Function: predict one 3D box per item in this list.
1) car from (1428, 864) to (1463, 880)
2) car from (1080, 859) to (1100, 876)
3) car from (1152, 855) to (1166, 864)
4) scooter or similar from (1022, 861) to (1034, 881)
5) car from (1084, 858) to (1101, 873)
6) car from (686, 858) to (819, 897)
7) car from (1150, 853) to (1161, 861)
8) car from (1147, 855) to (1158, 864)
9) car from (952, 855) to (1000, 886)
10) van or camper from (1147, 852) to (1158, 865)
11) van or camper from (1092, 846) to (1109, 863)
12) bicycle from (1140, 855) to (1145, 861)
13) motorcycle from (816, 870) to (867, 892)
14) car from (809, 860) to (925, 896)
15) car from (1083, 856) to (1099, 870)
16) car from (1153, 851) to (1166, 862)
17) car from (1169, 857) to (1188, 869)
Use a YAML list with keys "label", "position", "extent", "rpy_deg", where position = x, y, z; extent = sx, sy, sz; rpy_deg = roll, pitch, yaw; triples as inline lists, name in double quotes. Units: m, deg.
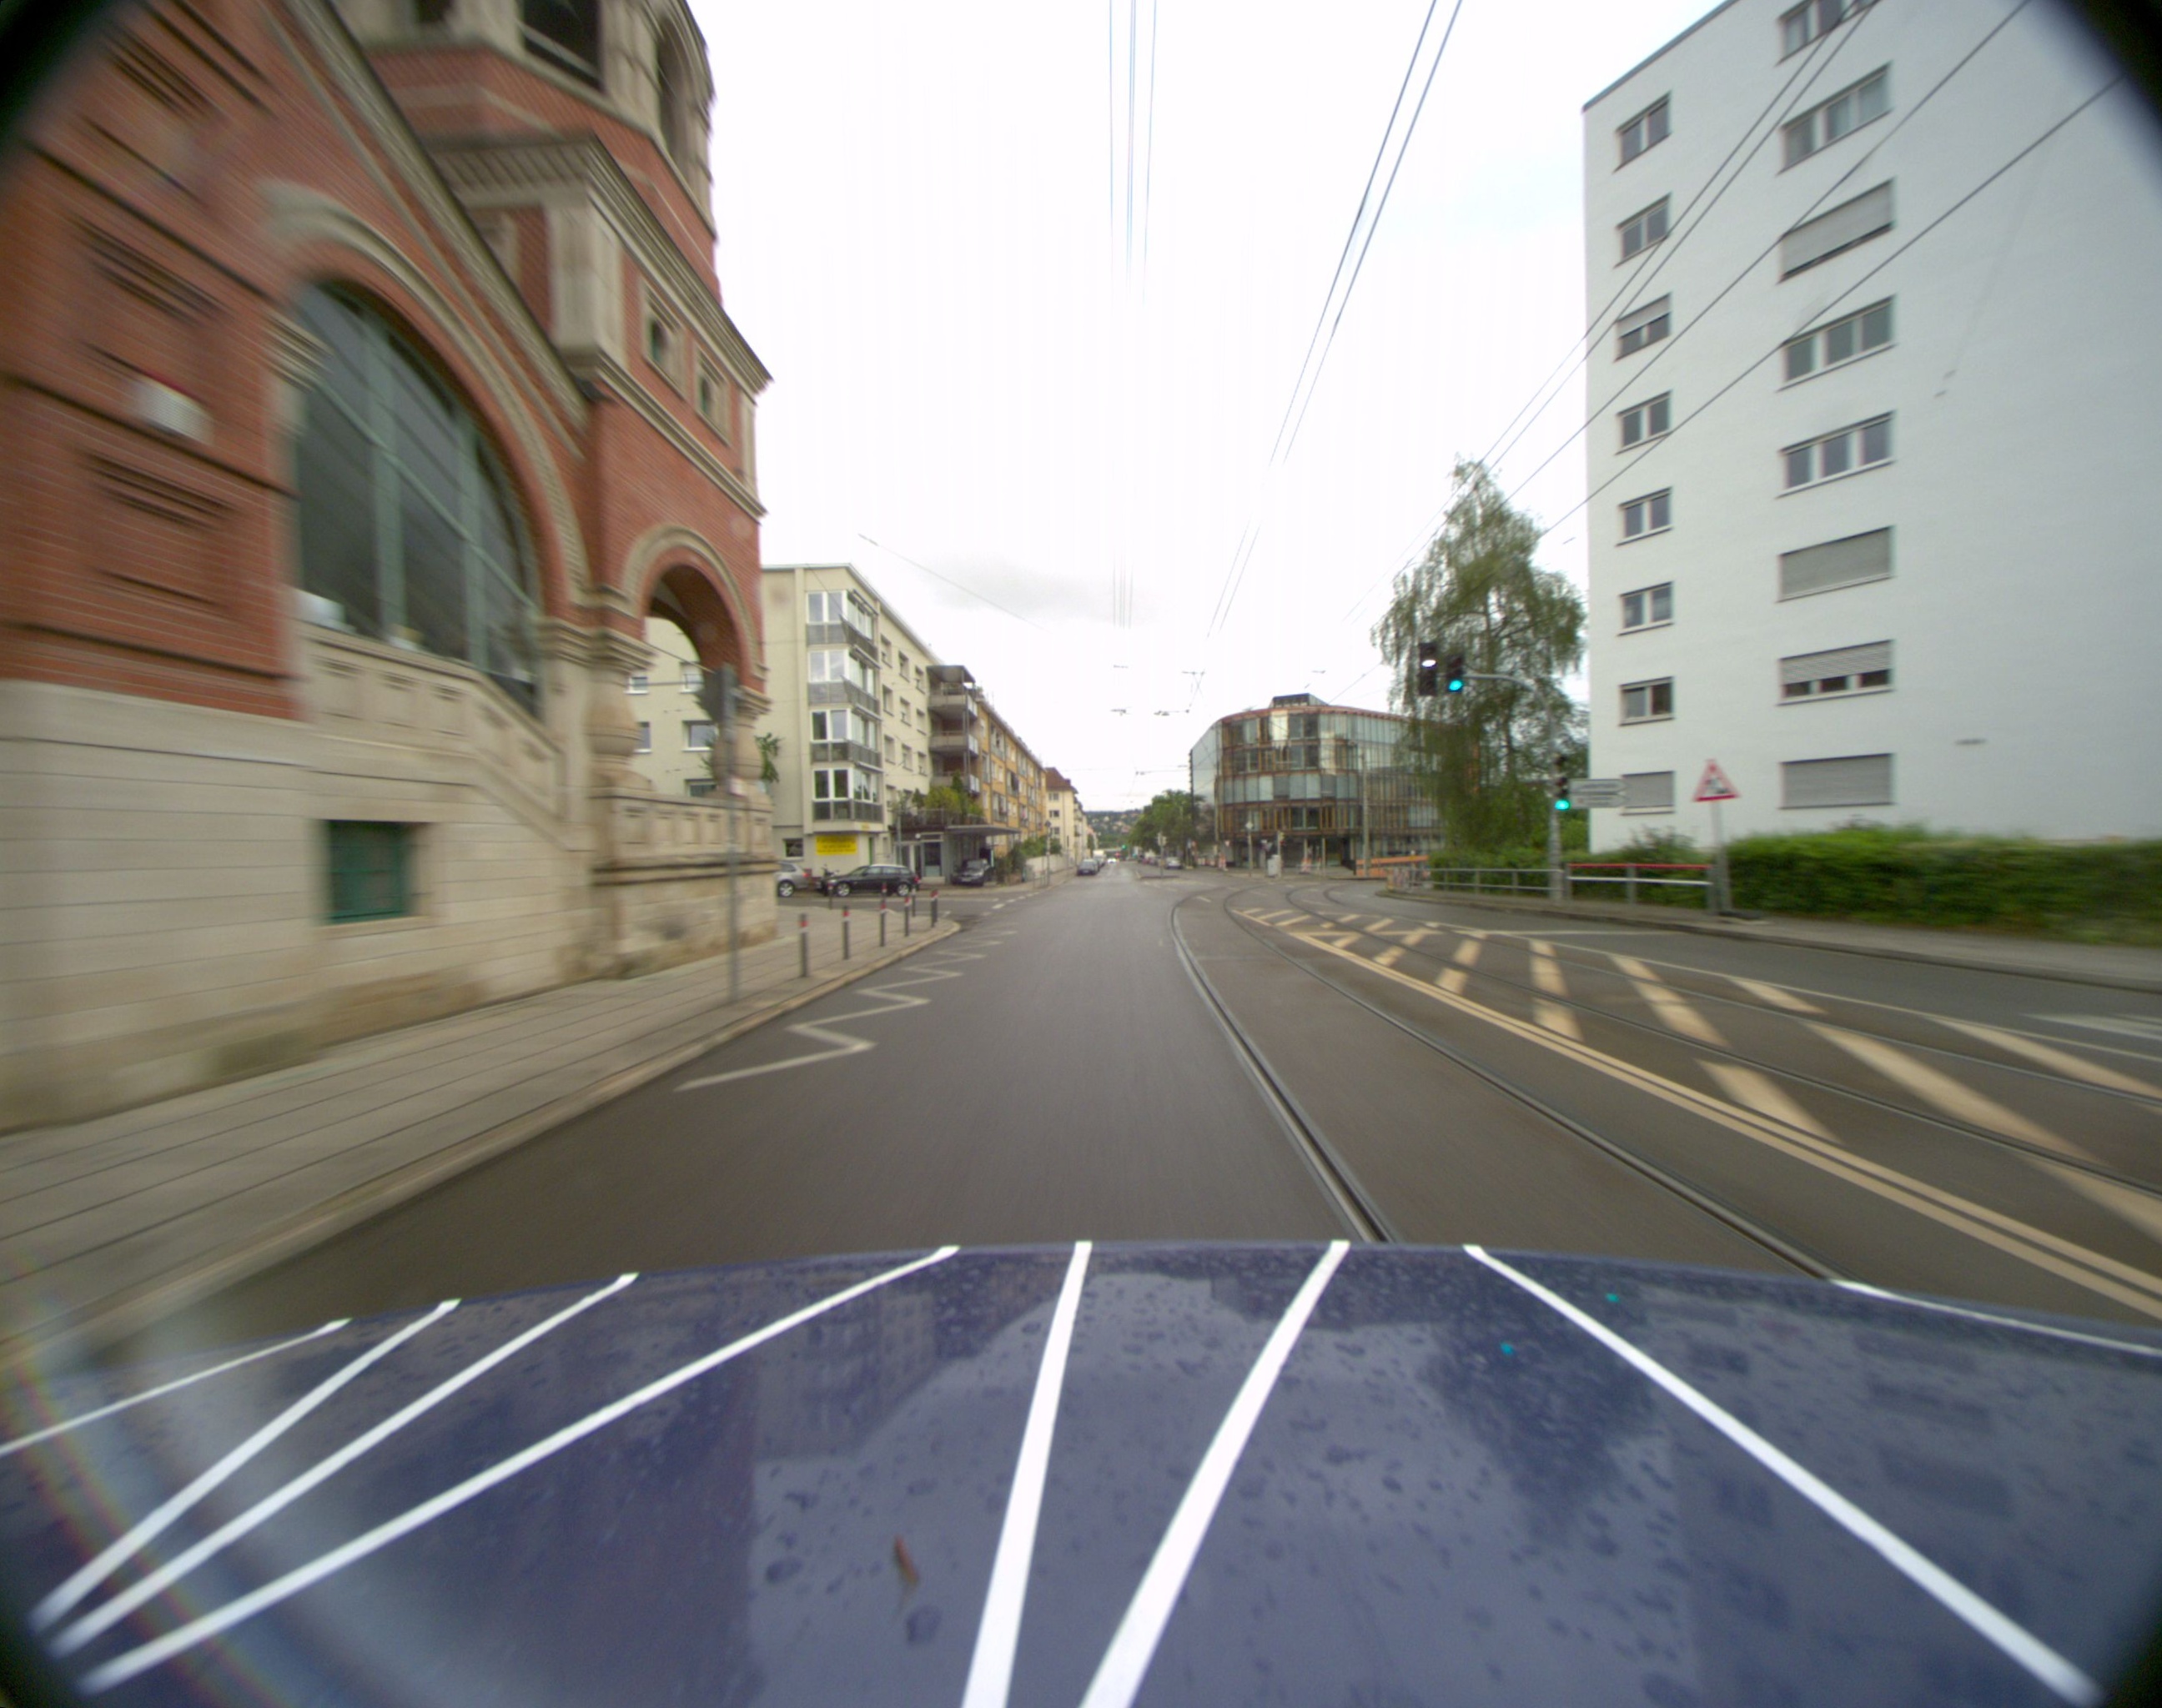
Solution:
- label: "car"
  position: [41.104, 2.001, 85.685]
  extent: [4.007, 1.488, 1.913]
  rpy_deg: [-4, 2, -39]
- label: "car"
  position: [0.899, 1.298, 74.778]
  extent: [1.734, 1.451, 4.478]
  rpy_deg: [-3, 1, 2]
- label: "car"
  position: [13.468, 0.858, 131.361]
  extent: [1.880, 1.390, 3.999]
  rpy_deg: [-2, 1, 0]
- label: "scooter or similar"
  position: [-3.618, 1.134, 52.251]
  extent: [0.536, 1.319, 1.659]
  rpy_deg: [3, 1, 3]
- label: "car"
  position: [1.220, 1.204, 80.752]
  extent: [1.651, 1.451, 4.101]
  rpy_deg: [-3, 1, 1]
- label: "car"
  position: [-13.065, 0.958, 30.348]
  extent: [4.459, 1.448, 1.997]
  rpy_deg: [3, -2, -39]
- label: "car"
  position: [14.488, 0.649, 147.721]
  extent: [1.880, 1.456, 3.517]
  rpy_deg: [-2, 1, 0]
- label: "car"
  position: [14.738, 1.172, 157.012]
  extent: [1.998, 1.565, 3.999]
  rpy_deg: [-3, 1, 2]
- label: "car"
  position: [-5.961, 0.921, 43.652]
  extent: [1.857, 1.494, 4.449]
  rpy_deg: [3, 2, 3]
- label: "van or camper"
  position: [15.247, 0.976, 163.006]
  extent: [2.143, 2.588, 5.550]
  rpy_deg: [-3, 1, 4]
- label: "van or camper"
  position: [3.732, 0.023, 143.822]
  extent: [2.753, 3.040, 7.030]
  rpy_deg: [-2, 1, 3]
- label: "bicycle"
  position: [11.247, 0.738, 139.436]
  extent: [0.826, 1.142, 2.127]
  rpy_deg: [-2, 1, 3]
- label: "motorcycle"
  position: [-11.343, 1.289, 36.040]
  extent: [2.219, 0.973, 0.550]
  rpy_deg: [3, -1, -40]
- label: "car"
  position: [-9.343, 1.099, 33.418]
  extent: [4.459, 1.448, 1.997]
  rpy_deg: [3, -3, -41]
- label: "car"
  position: [1.122, 1.002, 86.662]
  extent: [1.690, 1.445, 3.553]
  rpy_deg: [-3, 1, 2]
- label: "car"
  position: [14.040, 0.420, 136.558]
  extent: [1.880, 1.699, 3.999]
  rpy_deg: [-2, 1, 0]
- label: "car"
  position: [11.703, 1.022, 91.485]
  extent: [1.862, 1.386, 4.645]
  rpy_deg: [-1, 0, 2]
